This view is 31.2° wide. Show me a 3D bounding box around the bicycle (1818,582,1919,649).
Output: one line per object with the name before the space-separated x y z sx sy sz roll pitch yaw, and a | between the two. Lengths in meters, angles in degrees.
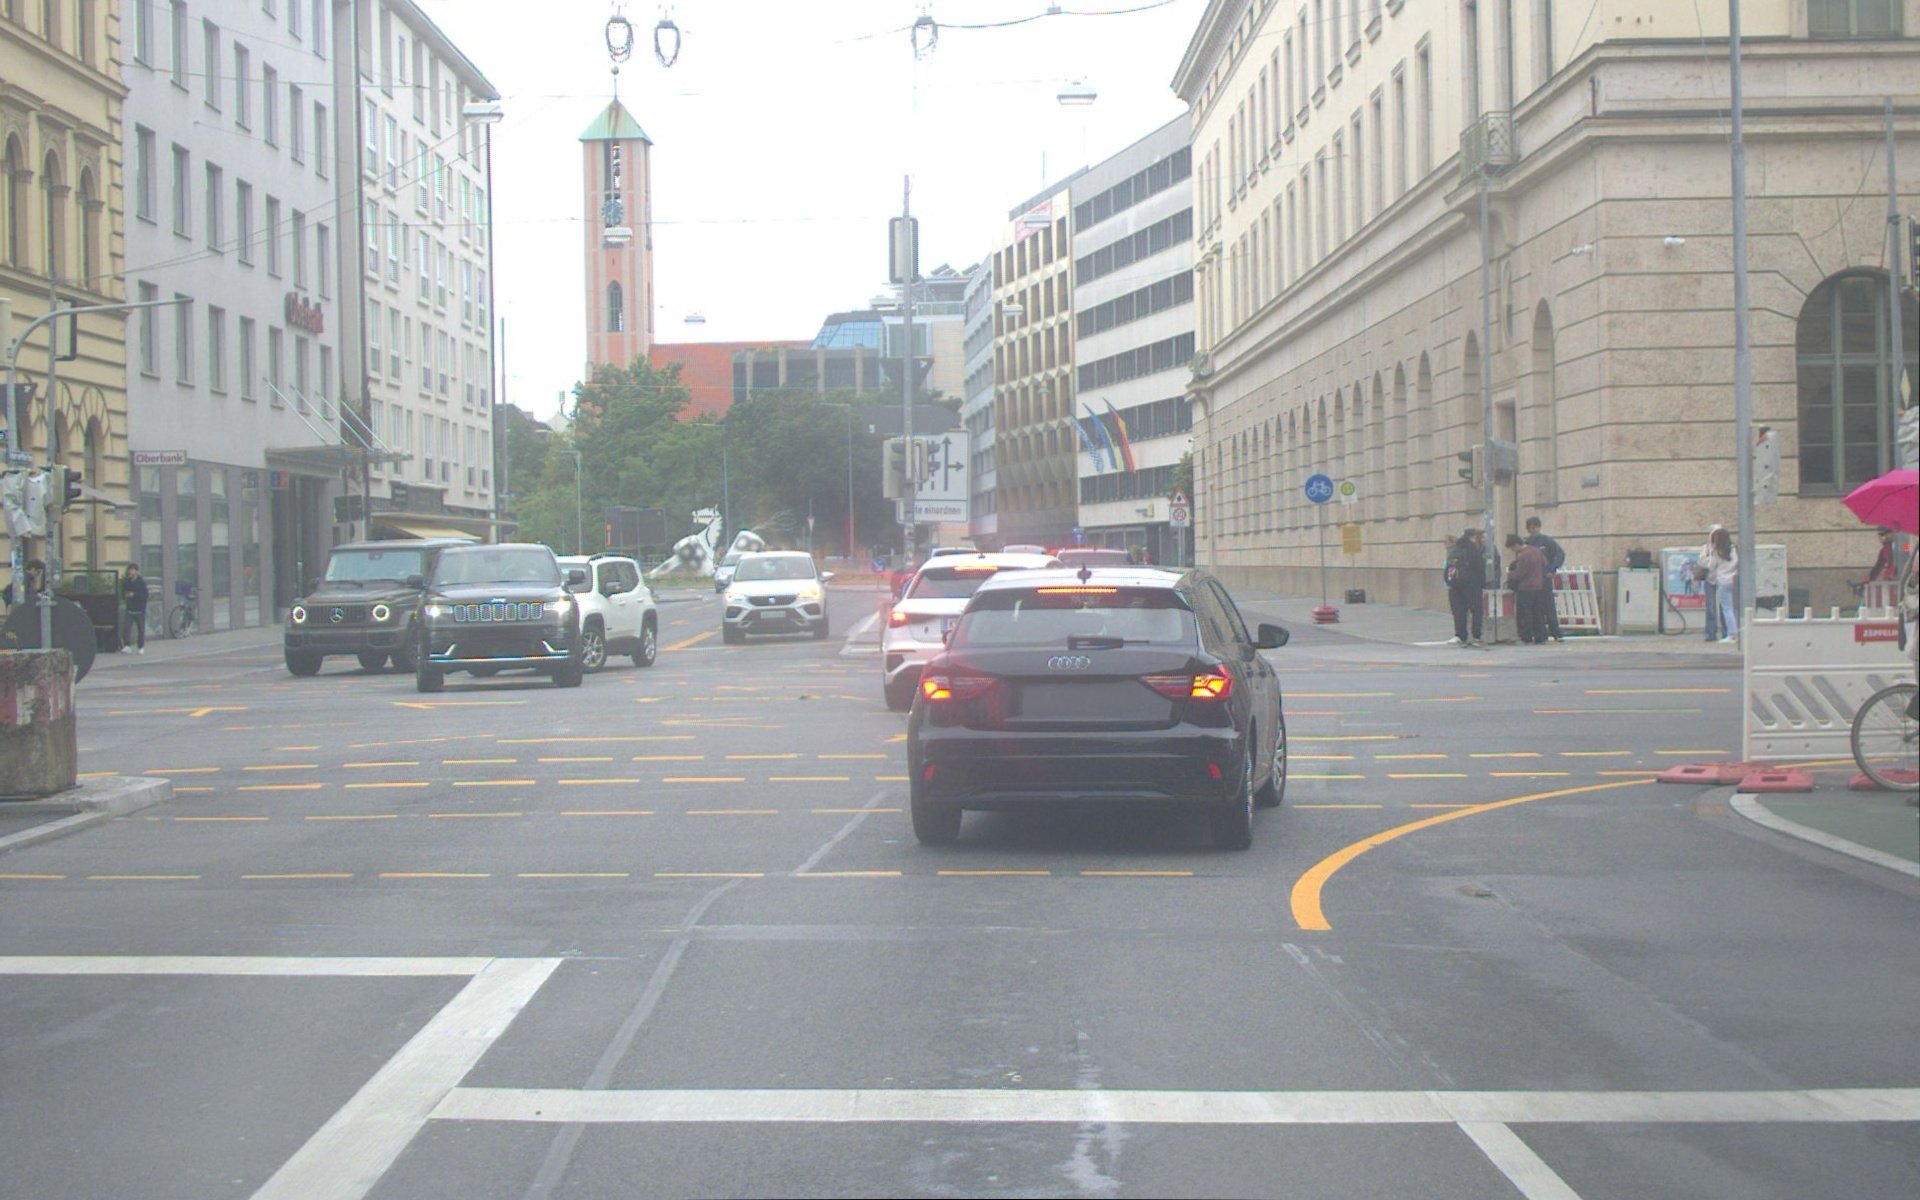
bicycle | 12.606 0.205 46.215 1.972 0.876 0.661 0 1 2

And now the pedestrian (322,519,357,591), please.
pedestrian | -15.262 -1.102 84.589 0.737 1.766 0.736 0 1 -1

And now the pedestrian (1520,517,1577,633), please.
pedestrian | 8.956 -0.386 52.316 0.584 1.749 0.818 1 1 31

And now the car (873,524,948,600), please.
car | -1.362 -1.066 94.816 1.993 2.007 4.000 -1 1 -1

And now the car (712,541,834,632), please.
car | -3.303 -0.261 61.318 1.993 1.518 4.233 -1 1 -1

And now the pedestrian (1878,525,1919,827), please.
pedestrian | 5.247 0.391 18.049 0.702 1.562 0.541 0 1 2

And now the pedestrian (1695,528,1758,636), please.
pedestrian | 11.123 -0.269 49.889 0.817 1.552 0.667 0 1 7

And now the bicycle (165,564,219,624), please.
bicycle | -16.300 -0.140 72.976 0.598 1.238 2.199 0 1 2

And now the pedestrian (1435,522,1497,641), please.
pedestrian | 7.540 -0.279 51.212 0.818 1.749 0.679 0 1 16

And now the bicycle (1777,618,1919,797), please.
bicycle | 5.692 0.632 20.183 1.655 1.008 0.585 1 1 42

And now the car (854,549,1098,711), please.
car | 0.229 0.233 33.081 1.813 1.420 4.451 1 1 7

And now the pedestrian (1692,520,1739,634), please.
pedestrian | 11.122 -0.341 50.617 0.616 1.666 0.542 0 1 7

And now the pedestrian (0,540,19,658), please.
pedestrian | -14.697 -0.020 51.750 0.734 1.766 0.738 1 1 21

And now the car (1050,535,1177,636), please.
car | 2.527 -0.266 57.469 1.865 1.596 3.851 -1 1 -1

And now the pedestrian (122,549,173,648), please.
pedestrian | -14.568 -0.037 61.643 0.737 1.766 0.736 0 1 -1

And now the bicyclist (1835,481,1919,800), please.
bicyclist | 5.653 0.230 20.213 0.798 1.847 0.566 1 1 42

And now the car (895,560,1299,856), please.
car | 0.849 0.492 18.560 1.864 1.383 3.999 0 1 7

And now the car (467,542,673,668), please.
car | -5.514 0.036 49.157 1.794 1.672 4.231 -1 1 10

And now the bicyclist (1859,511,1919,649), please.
bicyclist | 12.541 -0.272 46.211 0.744 1.836 0.660 0 1 2

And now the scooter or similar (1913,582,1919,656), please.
scooter or similar | 13.200 0.254 45.133 1.211 0.961 0.588 0 1 1

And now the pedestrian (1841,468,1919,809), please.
pedestrian | 5.356 0.205 19.251 0.702 1.878 0.641 0 1 4

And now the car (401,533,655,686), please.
car | -5.182 0.068 41.870 1.995 1.728 4.584 -1 1 7

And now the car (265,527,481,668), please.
car | -8.820 -0.083 52.050 2.238 2.007 4.450 -1 1 3

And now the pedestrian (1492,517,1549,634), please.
pedestrian | 8.412 -0.376 51.592 0.584 1.749 0.818 1 1 31

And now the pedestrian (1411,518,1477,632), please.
pedestrian | 7.435 -0.389 52.805 0.817 1.749 0.585 0 1 -31

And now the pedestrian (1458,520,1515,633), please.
pedestrian | 8.198 -0.373 53.516 0.818 1.749 0.585 0 1 14
